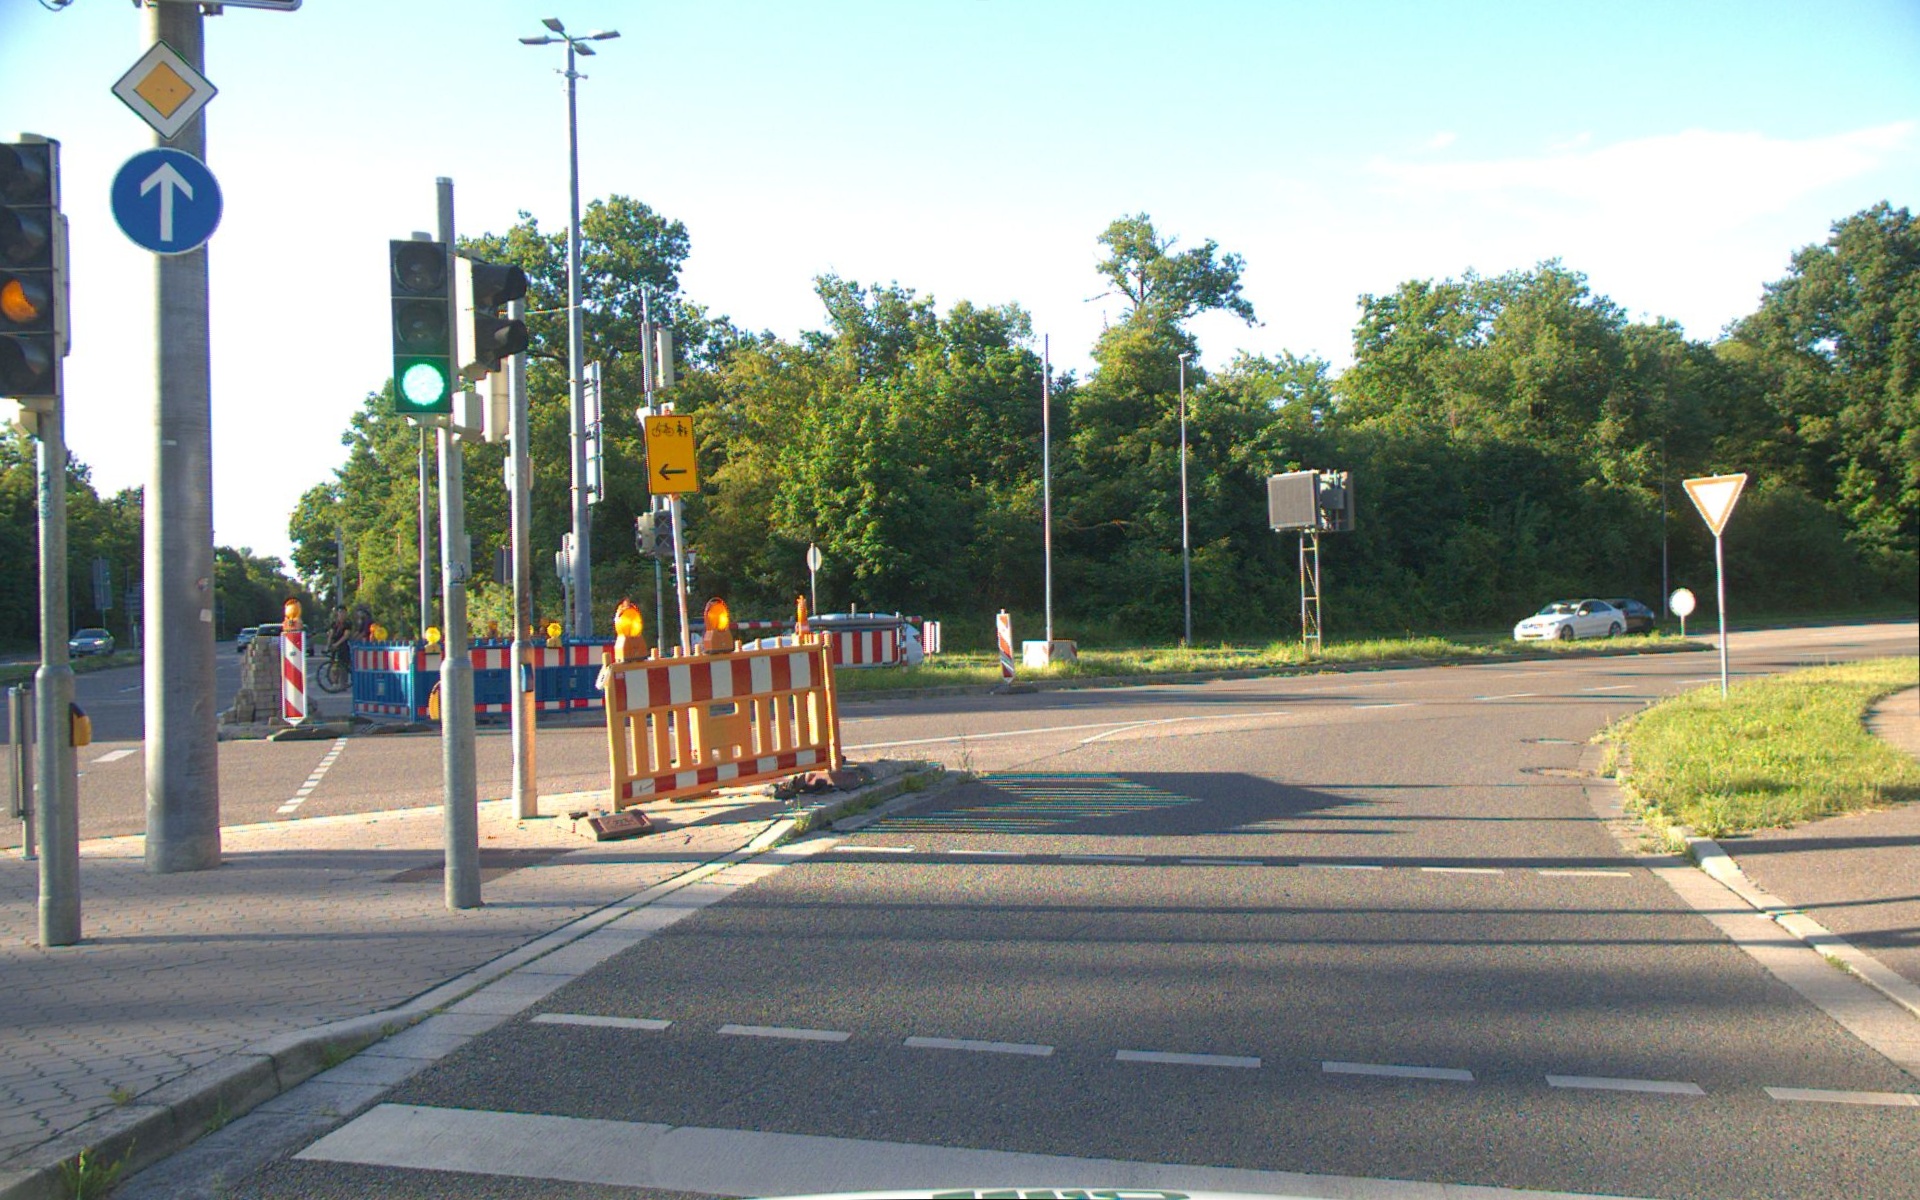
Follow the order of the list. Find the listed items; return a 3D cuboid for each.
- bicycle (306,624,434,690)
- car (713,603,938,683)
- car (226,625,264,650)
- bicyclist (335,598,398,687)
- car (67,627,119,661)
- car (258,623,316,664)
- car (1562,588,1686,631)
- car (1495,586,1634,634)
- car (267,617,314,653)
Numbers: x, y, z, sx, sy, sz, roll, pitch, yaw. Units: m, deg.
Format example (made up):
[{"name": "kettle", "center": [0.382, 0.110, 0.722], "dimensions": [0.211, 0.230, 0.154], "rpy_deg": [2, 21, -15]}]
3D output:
[{"name": "bicycle", "center": [-13.349, 1.263, 37.484], "dimensions": [0.950, 1.407, 2.626], "rpy_deg": [-1, -1, 40]}, {"name": "car", "center": [-2.978, 0.936, 37.242], "dimensions": [4.787, 1.608, 1.971], "rpy_deg": [-1, -1, -40]}, {"name": "car", "center": [-45.111, 2.347, 104.398], "dimensions": [1.834, 1.469, 3.980], "rpy_deg": [-1, -1, -18]}, {"name": "bicyclist", "center": [-13.419, 0.948, 37.418], "dimensions": [0.950, 1.963, 1.011], "rpy_deg": [-1, -1, 40]}, {"name": "car", "center": [-49.765, 2.504, 94.982], "dimensions": [1.964, 1.820, 4.225], "rpy_deg": [-1, 0, -19]}, {"name": "car", "center": [-25.153, 1.598, 61.891], "dimensions": [1.913, 1.439, 3.974], "rpy_deg": [-2, 0, -22]}, {"name": "car", "center": [24.603, 0.354, 61.218], "dimensions": [4.751, 1.461, 1.976], "rpy_deg": [-1, -1, -35]}, {"name": "car", "center": [20.150, 0.333, 55.044], "dimensions": [4.751, 1.461, 1.976], "rpy_deg": [-1, -1, -35]}, {"name": "car", "center": [-31.581, 1.632, 78.093], "dimensions": [1.966, 1.563, 3.974], "rpy_deg": [-2, 0, -22]}]
